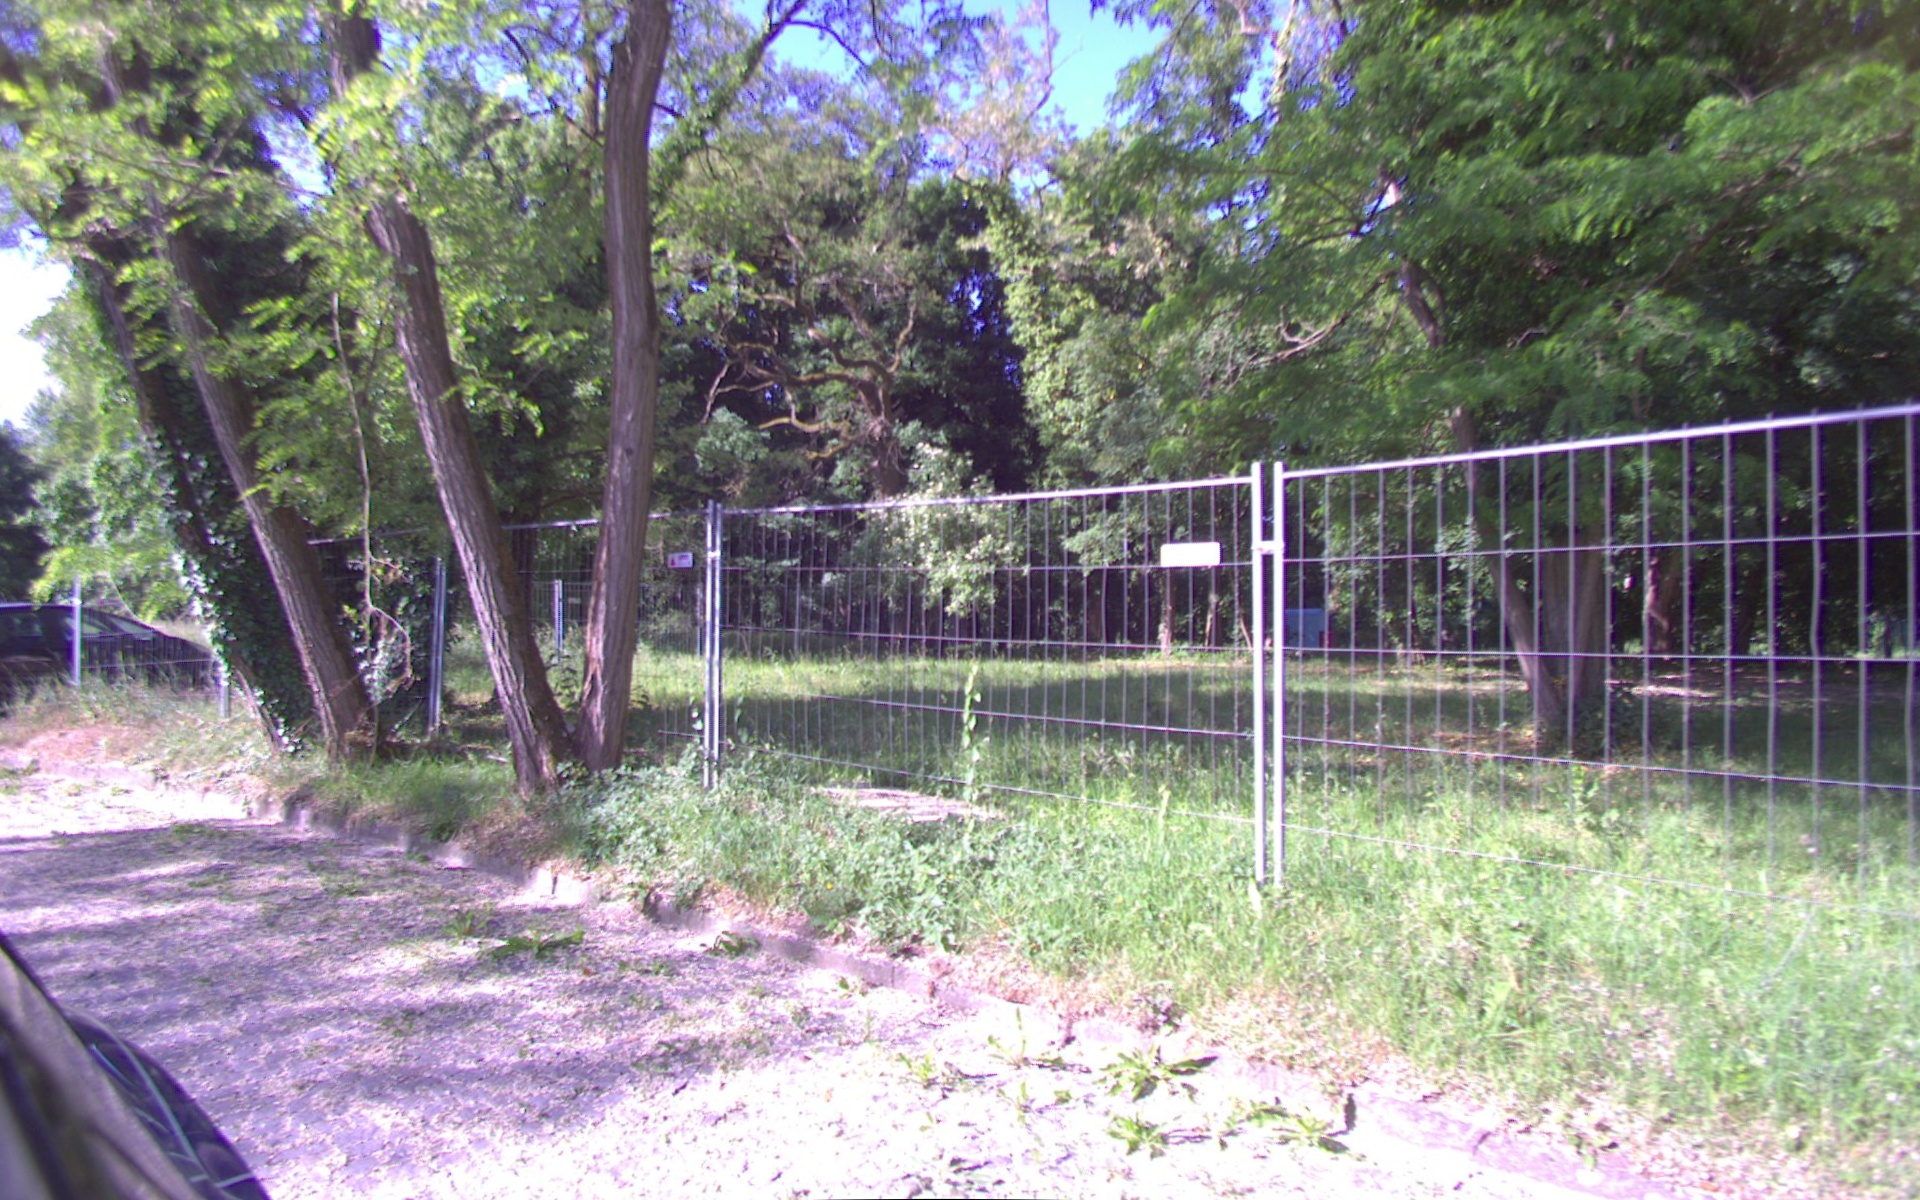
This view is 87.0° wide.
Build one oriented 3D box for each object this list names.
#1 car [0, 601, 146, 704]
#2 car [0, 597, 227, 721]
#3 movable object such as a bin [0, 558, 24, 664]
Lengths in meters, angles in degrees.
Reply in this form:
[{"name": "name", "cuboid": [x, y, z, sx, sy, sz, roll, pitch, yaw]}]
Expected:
[{"name": "car", "cuboid": [-16.784, 0.906, 17.242, 1.810, 1.668, 4.149, -1, 1, 29]}, {"name": "car", "cuboid": [-14.112, 0.869, 15.555, 1.783, 1.664, 4.264, -1, 2, 25]}, {"name": "movable object such as a bin", "cuboid": [-29.187, 0.322, 27.597, 1.995, 2.988, 5.104, -1, -1, 34]}]
